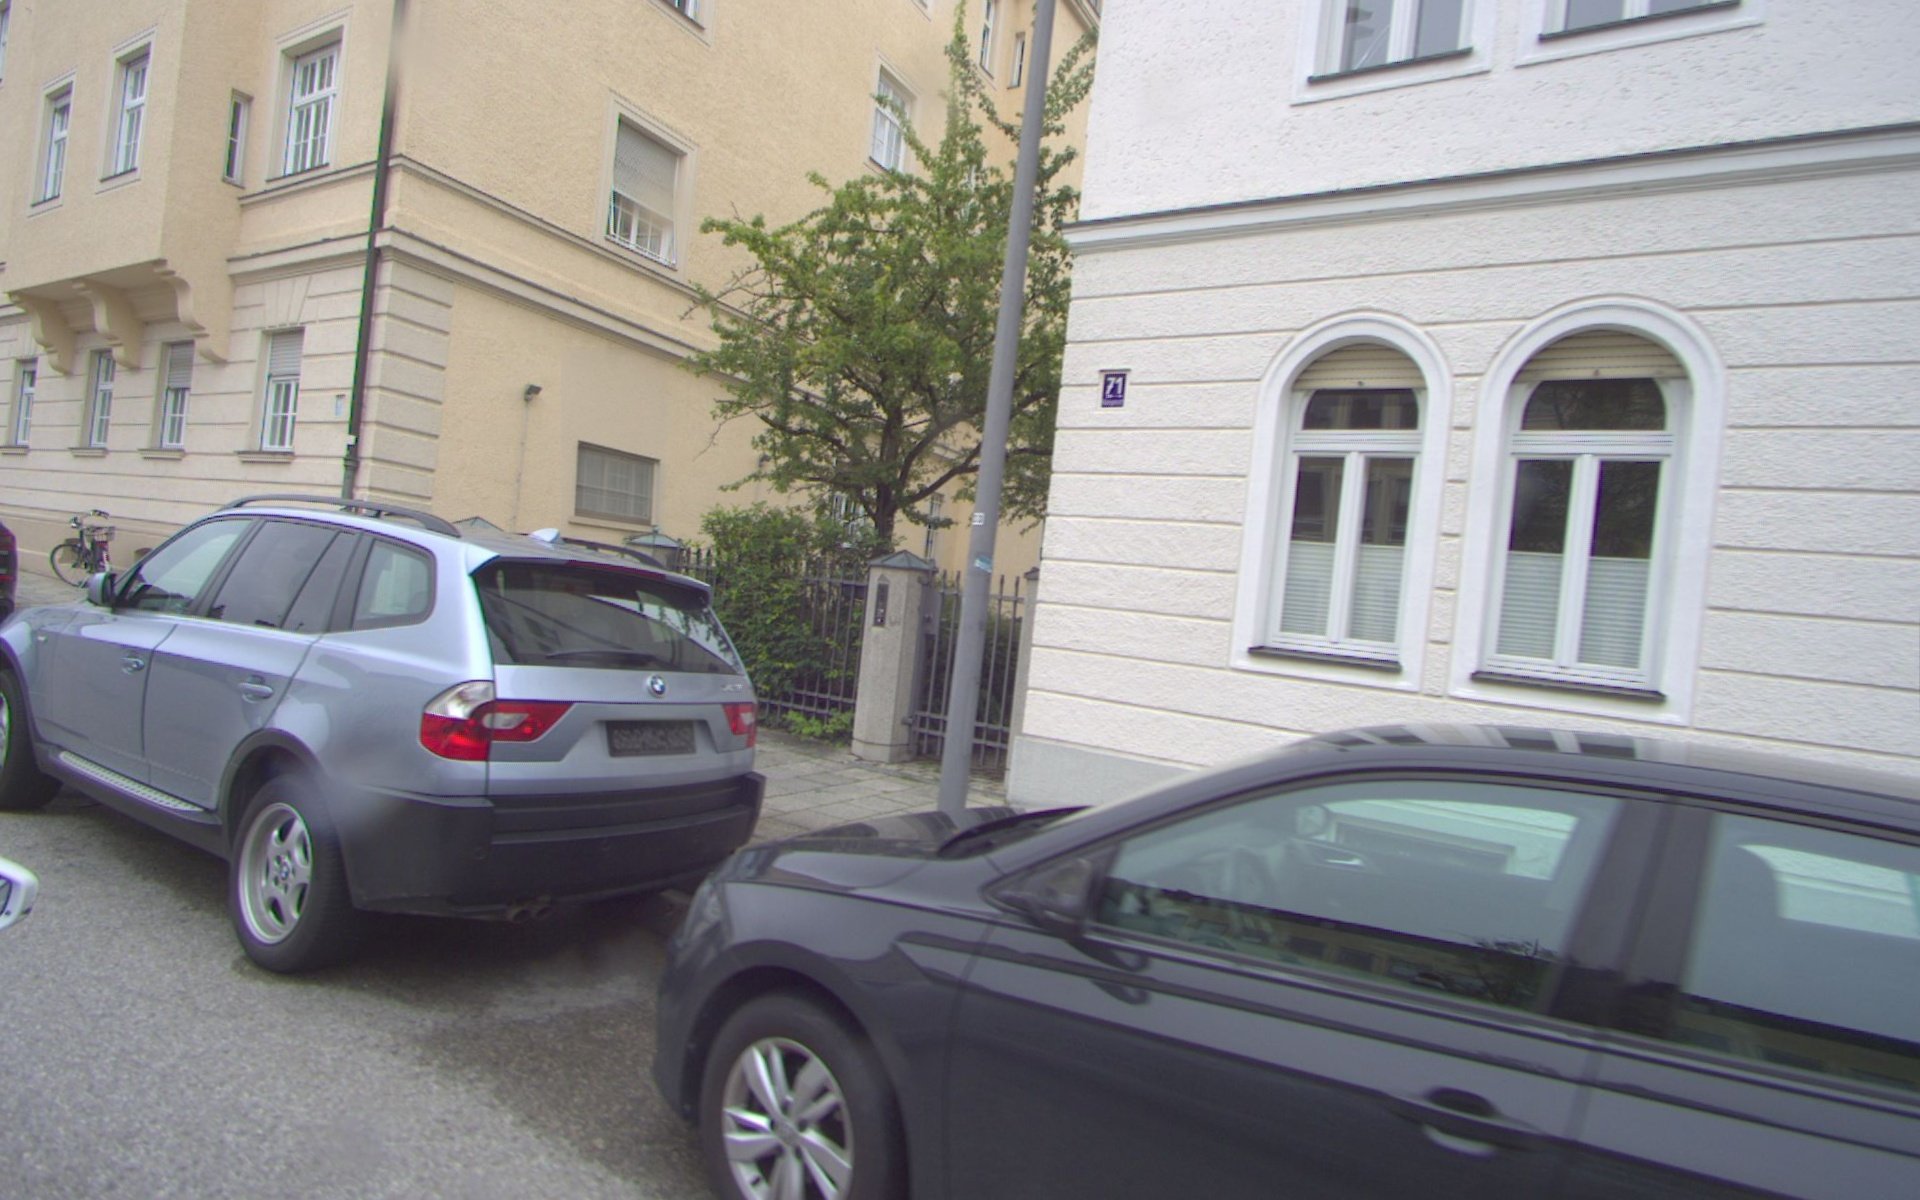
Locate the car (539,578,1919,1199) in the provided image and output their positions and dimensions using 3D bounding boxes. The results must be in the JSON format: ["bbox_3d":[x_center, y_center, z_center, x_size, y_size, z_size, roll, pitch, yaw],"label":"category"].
[{"bbox_3d":[1.148,0.954,2.352,4.016,1.467,1.831,7,-2,32],"label":"car"}]

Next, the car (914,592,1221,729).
[{"bbox_3d":[1.543,0.849,14.711,3.933,1.474,1.861,5,-2,31],"label":"car"}]

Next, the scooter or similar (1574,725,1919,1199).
[{"bbox_3d":[2.575,1.092,3.108,1.030,1.245,0.428,7,0,32],"label":"scooter or similar"}]

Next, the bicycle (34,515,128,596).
[{"bbox_3d":[-13.402,-0.692,15.318,2.103,1.063,0.501,6,3,33],"label":"bicycle"}]

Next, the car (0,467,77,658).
[{"bbox_3d":[-11.358,-0.655,10.201,4.941,1.759,2.174,7,-2,32],"label":"car"}]

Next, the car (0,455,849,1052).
[{"bbox_3d":[-2.947,0.361,4.883,4.422,1.683,1.850,6,-1,31],"label":"car"}]
